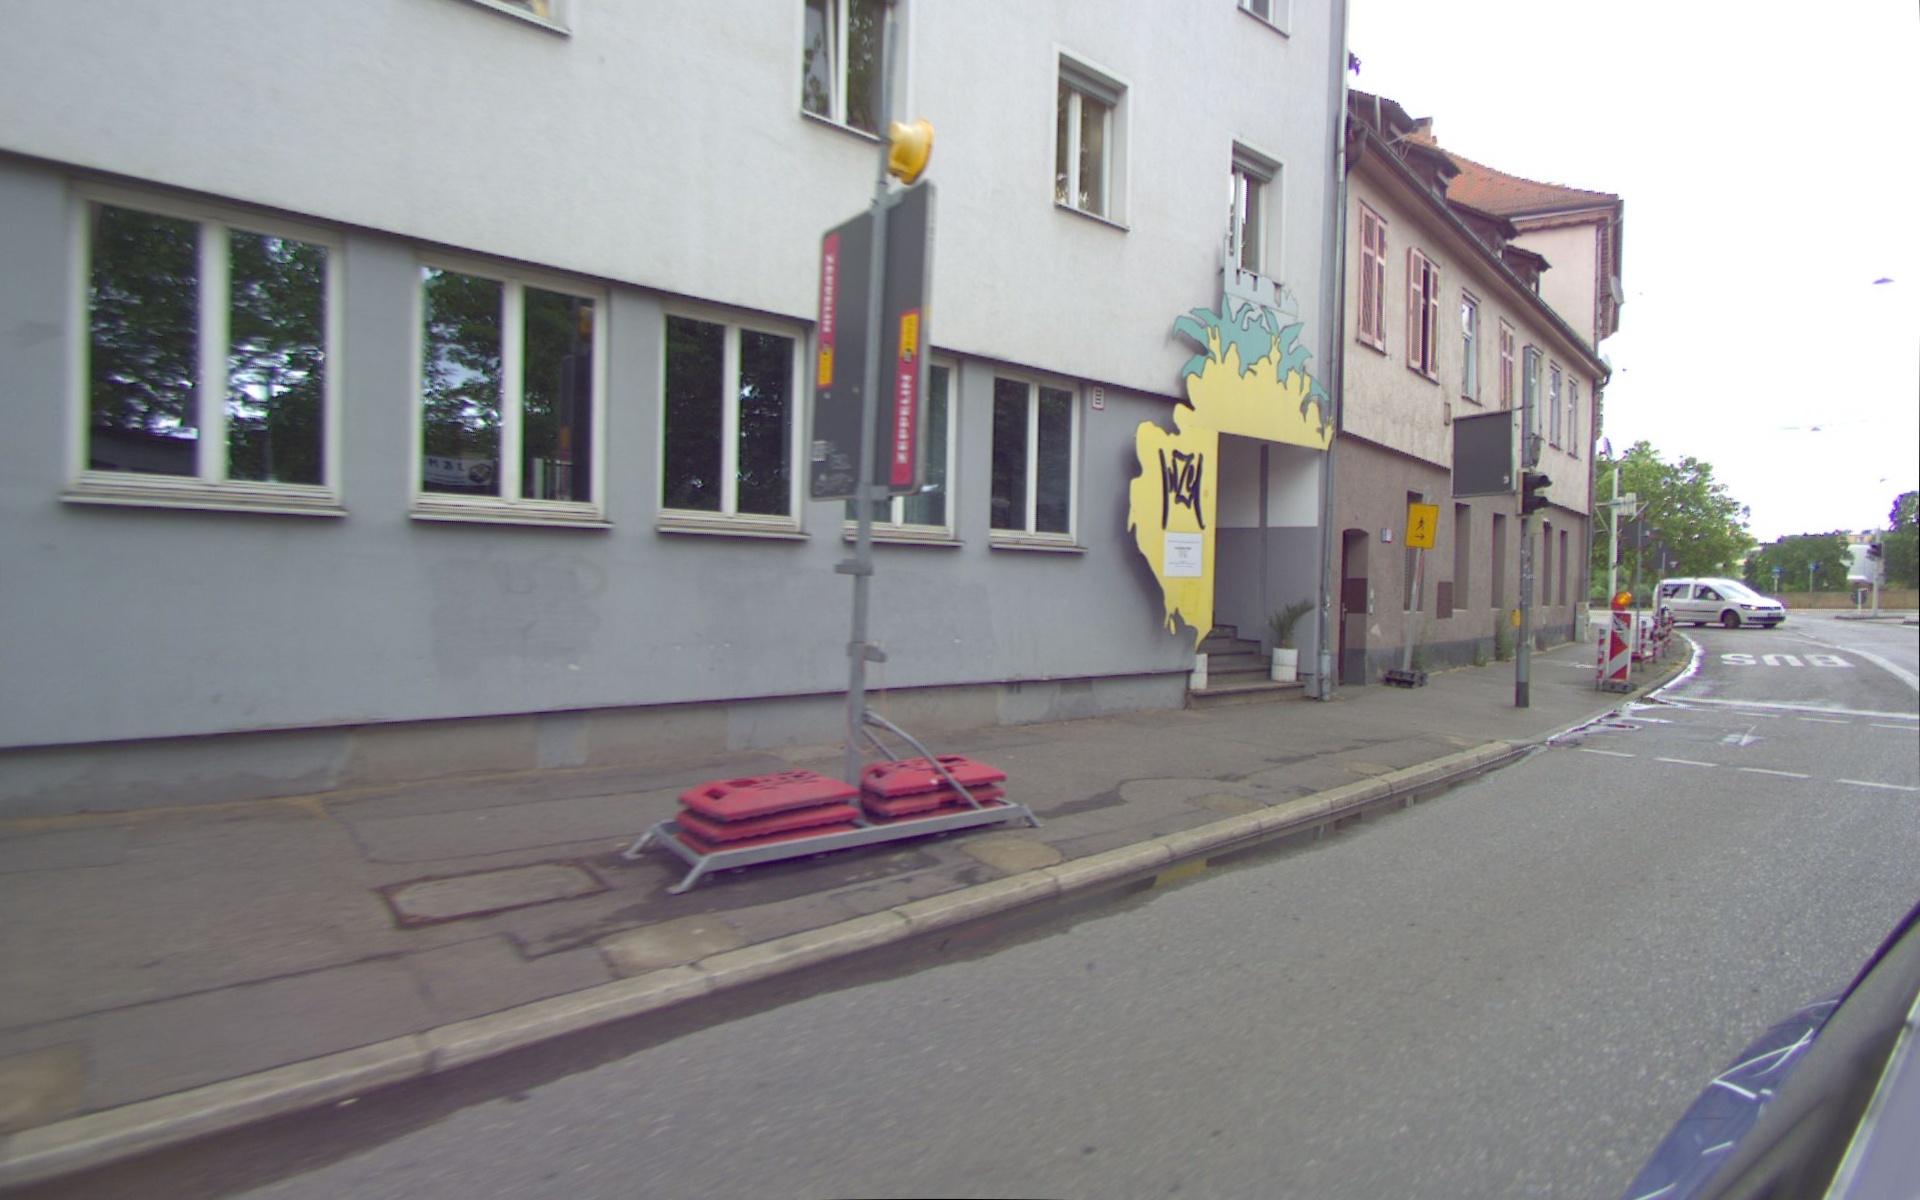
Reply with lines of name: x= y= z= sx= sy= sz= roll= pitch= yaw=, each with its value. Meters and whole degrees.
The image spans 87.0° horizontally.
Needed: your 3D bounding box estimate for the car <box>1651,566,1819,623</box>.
car: x=27.842 y=-0.219 z=36.544 sx=2.031 sy=1.807 sz=4.467 roll=-3 pitch=1 yaw=-13
